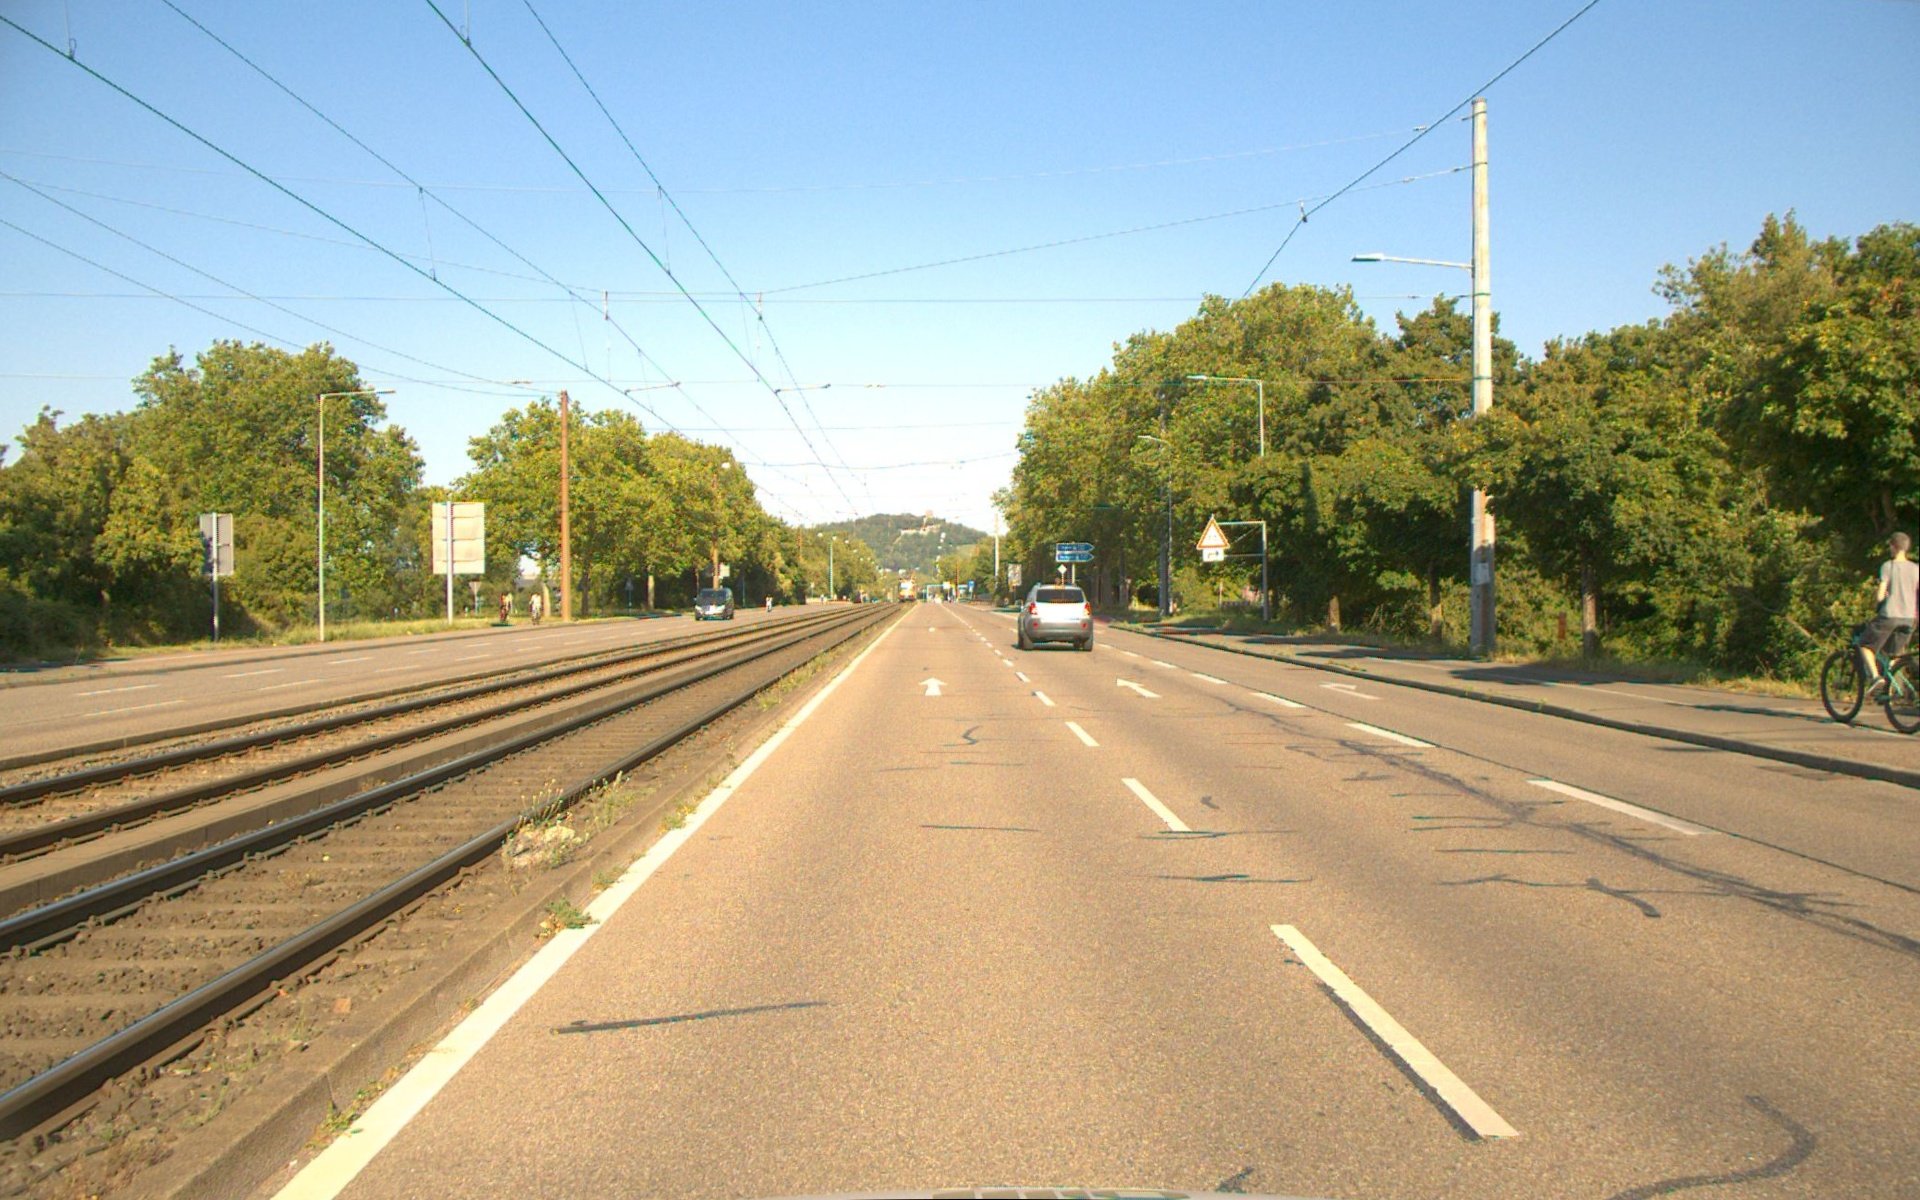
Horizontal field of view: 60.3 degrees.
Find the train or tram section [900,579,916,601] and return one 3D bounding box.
[{"bbox_3d":[-8.150,-1.545,261.346,2.264,3.273,9.472,2,0,-1],"label":"train or tram section"}]

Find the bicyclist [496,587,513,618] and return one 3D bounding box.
[{"bbox_3d":[-22.605,0.127,82.067,0.578,1.555,0.906,0,0,-2],"label":"bicyclist"}]

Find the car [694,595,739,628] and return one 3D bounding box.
[{"bbox_3d":[-14.695,0.694,100.027,1.952,1.956,4.860,-1,0,0],"label":"car"}]

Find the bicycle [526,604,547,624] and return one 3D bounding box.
[{"bbox_3d":[-21.479,0.708,83.894,0.578,1.040,2.185,0,0,-2],"label":"bicycle"}]

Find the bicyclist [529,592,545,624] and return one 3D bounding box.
[{"bbox_3d":[-21.473,0.398,84.004,0.578,1.639,0.967,0,0,-2],"label":"bicyclist"}]

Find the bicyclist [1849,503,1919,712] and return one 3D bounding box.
[{"bbox_3d":[9.463,0.077,16.715,0.516,2.052,0.729,2,-1,0],"label":"bicyclist"}]

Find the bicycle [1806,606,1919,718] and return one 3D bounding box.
[{"bbox_3d":[9.449,0.607,16.965,0.516,1.079,1.971,2,0,0],"label":"bicycle"}]

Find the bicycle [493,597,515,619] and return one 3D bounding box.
[{"bbox_3d":[-22.611,0.392,82.034,0.578,1.040,2.185,0,0,-2],"label":"bicycle"}]

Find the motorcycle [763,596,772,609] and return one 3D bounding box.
[{"bbox_3d":[-17.365,0.211,149.201,0.525,1.110,1.901,2,0,-1],"label":"motorcycle"}]

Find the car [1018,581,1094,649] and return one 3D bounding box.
[{"bbox_3d":[2.521,0.399,44.315,1.849,1.723,4.257,0,0,1],"label":"car"}]

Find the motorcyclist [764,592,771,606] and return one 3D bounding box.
[{"bbox_3d":[-17.358,-0.089,149.271,0.525,1.292,0.805,2,-1,-1],"label":"motorcyclist"}]
